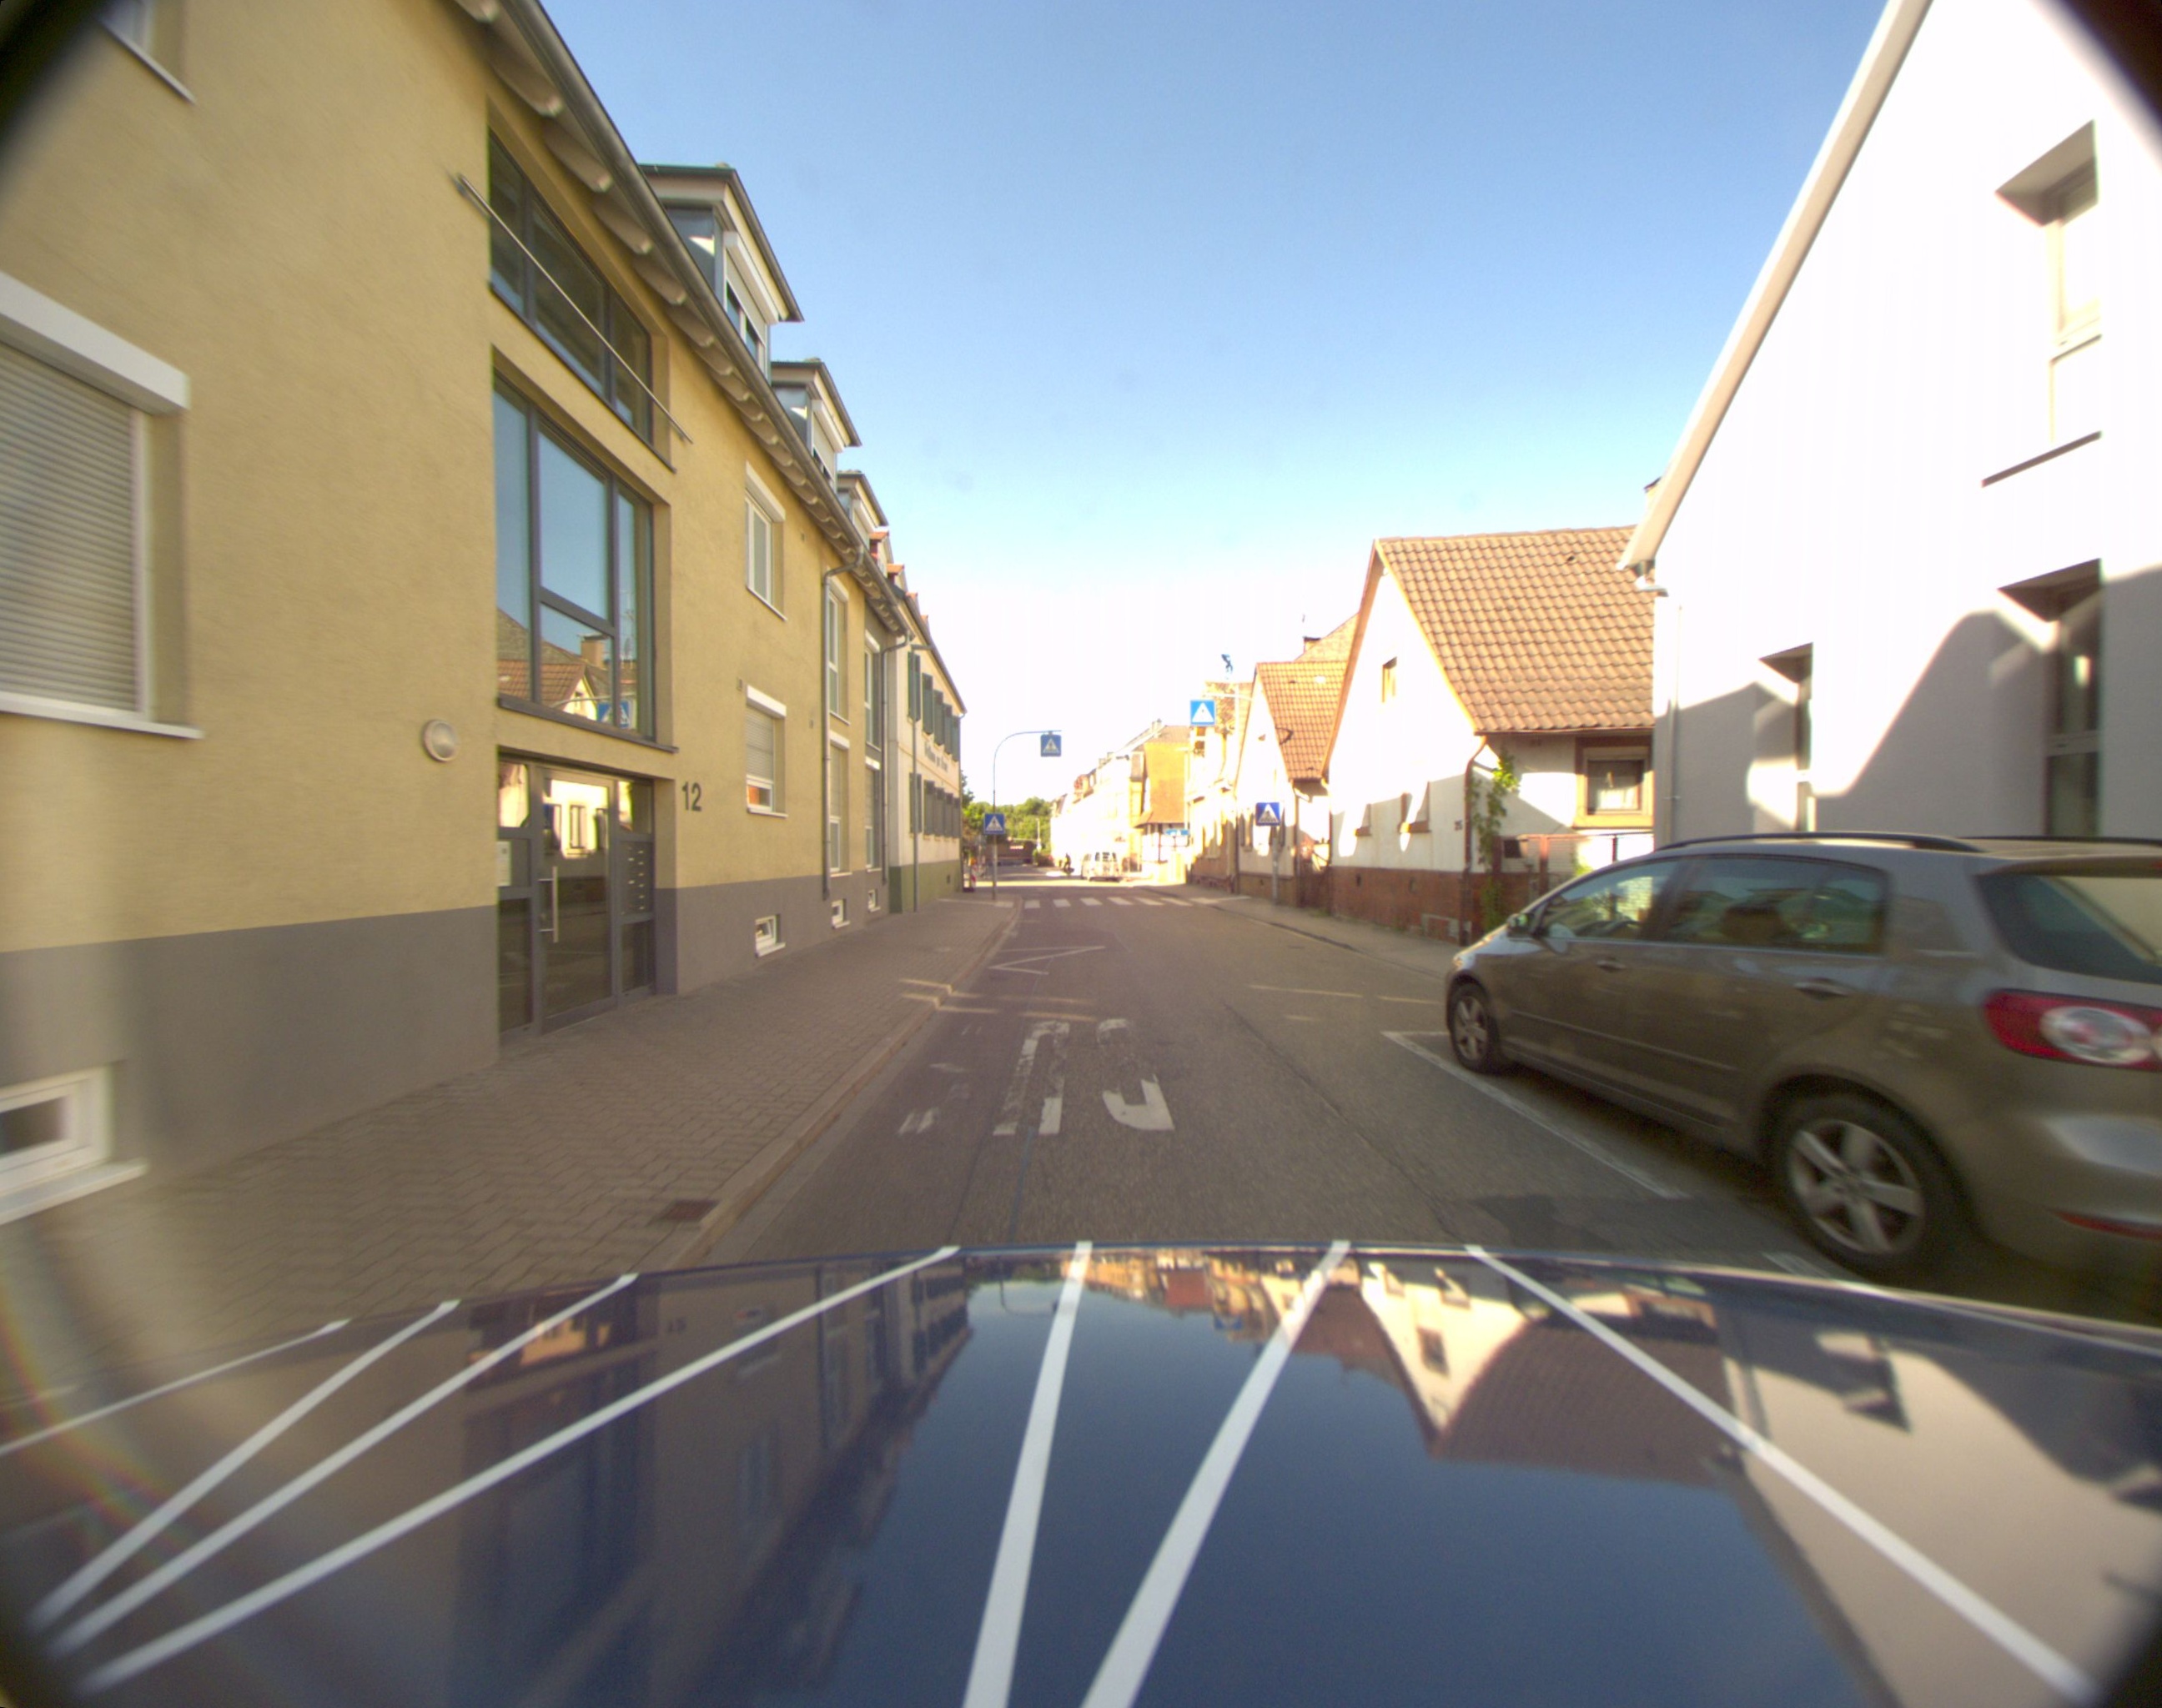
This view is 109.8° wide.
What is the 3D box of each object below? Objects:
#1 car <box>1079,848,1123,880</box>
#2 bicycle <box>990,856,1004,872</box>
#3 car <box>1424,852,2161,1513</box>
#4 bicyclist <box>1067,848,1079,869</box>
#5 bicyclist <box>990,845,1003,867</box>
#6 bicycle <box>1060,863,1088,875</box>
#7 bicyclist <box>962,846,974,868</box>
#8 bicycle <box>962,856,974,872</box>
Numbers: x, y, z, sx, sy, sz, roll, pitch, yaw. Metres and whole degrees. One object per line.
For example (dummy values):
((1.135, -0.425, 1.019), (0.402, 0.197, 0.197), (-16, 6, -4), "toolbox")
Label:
((1.210, 0.564, 47.557), (1.881, 1.870, 4.831), (1, 1, -9), "car")
((-9.142, 1.052, 82.906), (1.257, 1.543, 3.998), (-3, 1, -4), "bicycle")
((3.519, 0.809, 3.789), (1.747, 1.604, 3.999), (0, 1, -1), "car")
((-0.590, 0.345, 55.465), (0.656, 1.524, 0.609), (-4, 2, -27), "bicyclist")
((-9.210, 0.184, 82.943), (1.257, 2.295, 1.242), (-3, 1, -4), "bicyclist")
((-0.523, 1.064, 55.495), (1.915, 0.774, 0.623), (-3, 1, -30), "bicycle")
((-8.256, 0.235, 55.547), (0.669, 1.530, 0.914), (3, 1, -4), "bicyclist")
((-8.272, 0.713, 55.500), (0.669, 1.058, 1.816), (3, 1, -3), "bicycle")
